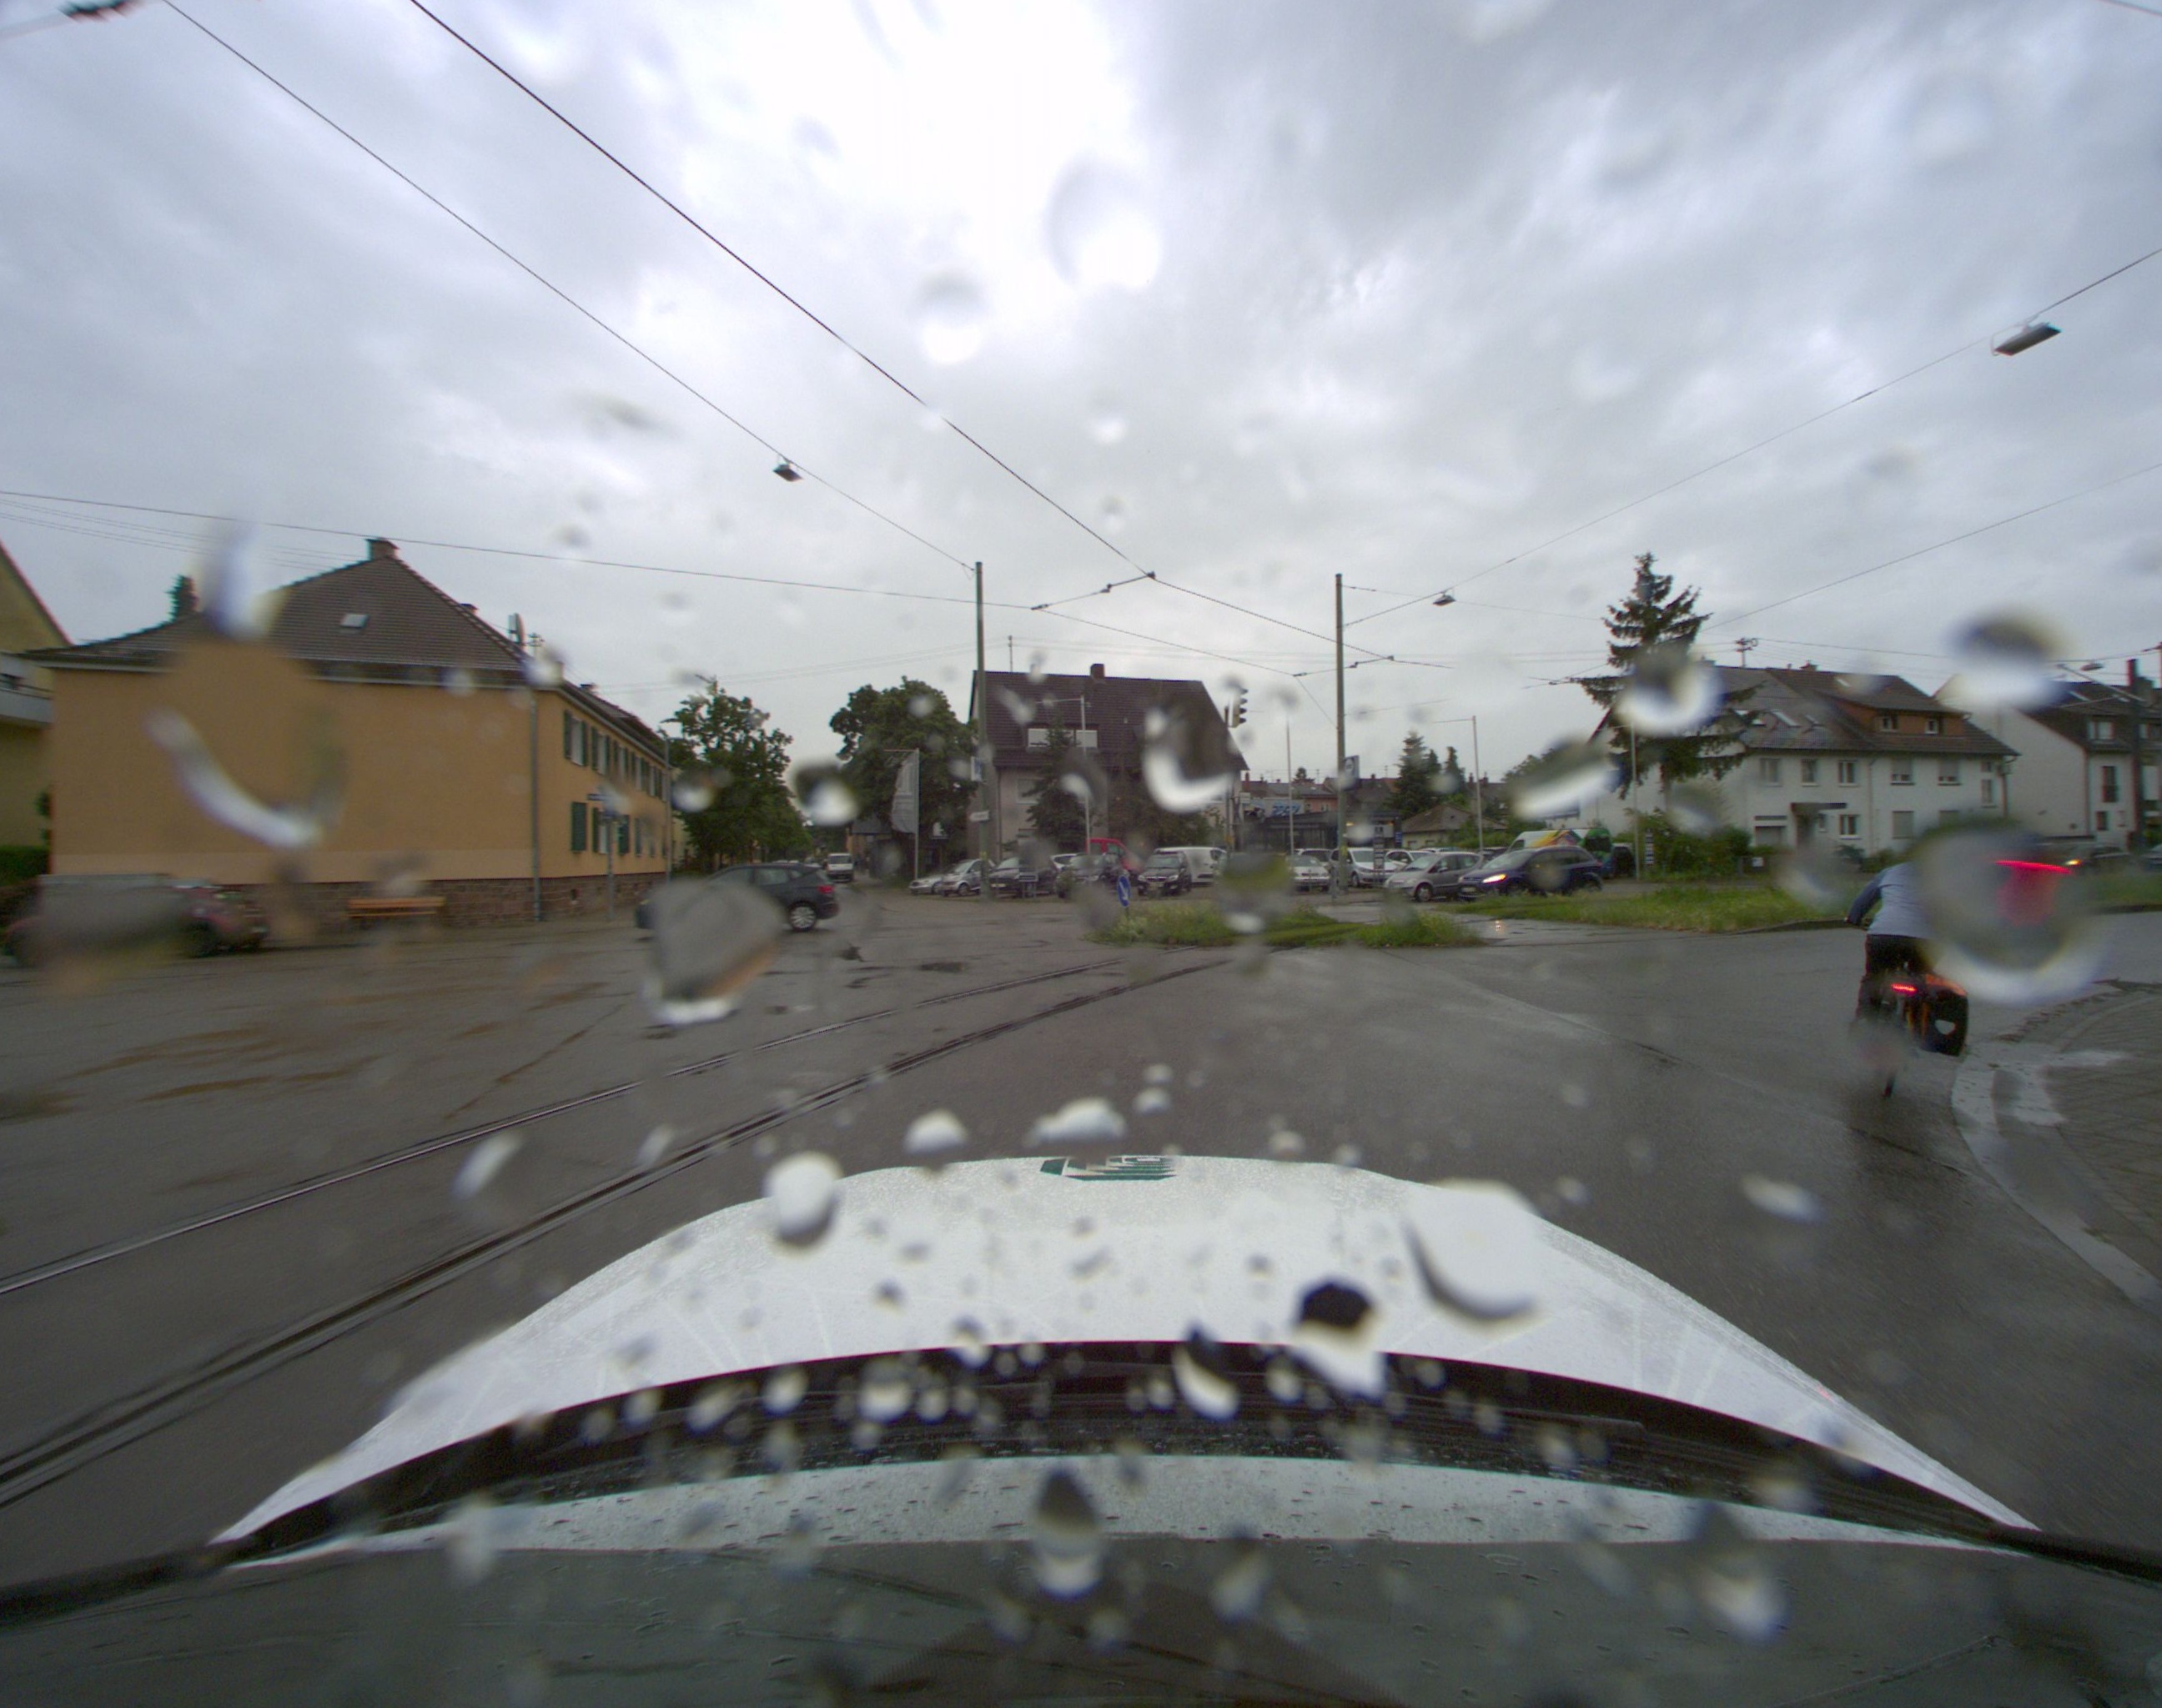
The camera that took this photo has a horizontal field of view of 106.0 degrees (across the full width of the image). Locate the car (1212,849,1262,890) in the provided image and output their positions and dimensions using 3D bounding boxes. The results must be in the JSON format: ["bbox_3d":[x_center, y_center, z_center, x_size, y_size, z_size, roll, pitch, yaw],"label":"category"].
[{"bbox_3d":[6.276,0.618,32.472,1.815,1.504,4.072,0,-1,12],"label":"car"}]

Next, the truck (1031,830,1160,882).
[{"bbox_3d":[0.747,0.134,39.526,6.057,2.272,2.002,-2,-1,3],"label":"truck"}]

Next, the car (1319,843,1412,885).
[{"bbox_3d":[11.787,0.412,34.000,1.805,1.578,3.852,-2,0,-14],"label":"car"}]

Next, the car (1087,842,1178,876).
[{"bbox_3d":[2.714,0.266,43.361,4.439,1.687,1.990,-1,-1,-14],"label":"car"}]

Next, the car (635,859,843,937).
[{"bbox_3d":[-7.369,0.906,17.979,3.998,1.476,1.988,-1,0,-18],"label":"car"}]

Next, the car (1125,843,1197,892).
[{"bbox_3d":[3.159,0.489,31.493,1.978,1.717,4.017,-2,-1,17],"label":"car"}]

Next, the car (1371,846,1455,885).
[{"bbox_3d":[14.481,0.508,35.718,1.719,1.573,3.601,1,-1,-12],"label":"car"}]

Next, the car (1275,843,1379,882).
[{"bbox_3d":[11.595,0.394,38.443,4.439,1.687,1.752,-1,-1,-14],"label":"car"}]

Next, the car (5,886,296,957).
[{"bbox_3d":[-19.427,1.369,17.228,3.616,1.339,1.712,1,-1,-19],"label":"car"}]

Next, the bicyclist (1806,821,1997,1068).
[{"bbox_3d":[5.512,0.546,5.475,0.850,1.485,0.745,-2,0,-36],"label":"bicyclist"}]

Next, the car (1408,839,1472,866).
[{"bbox_3d":[22.760,-0.090,51.583,4.468,1.580,1.773,-1,-2,-38],"label":"car"}]

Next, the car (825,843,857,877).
[{"bbox_3d":[-18.704,0.480,63.351,2.159,2.573,4.107,1,-1,-18],"label":"car"}]

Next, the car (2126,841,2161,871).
[{"bbox_3d":[52.828,0.119,39.140,4.661,1.424,1.597,1,-1,-16],"label":"car"}]

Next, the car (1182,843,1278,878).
[{"bbox_3d":[7.738,0.340,42.410,4.439,1.687,1.990,-1,-1,-14],"label":"car"}]

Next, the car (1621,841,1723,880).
[{"bbox_3d":[28.386,0.292,39.177,3.891,1.564,1.989,-4,1,-17],"label":"car"}]

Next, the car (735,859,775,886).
[{"bbox_3d":[-20.280,1.141,50.779,1.999,1.618,3.975,-1,-1,-18],"label":"car"}]

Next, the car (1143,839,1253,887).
[{"bbox_3d":[5.262,0.402,36.827,4.439,2.014,1.990,-1,-1,-14],"label":"car"}]

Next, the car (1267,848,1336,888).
[{"bbox_3d":[8.861,0.577,33.032,1.821,1.504,4.059,1,-1,1],"label":"car"}]

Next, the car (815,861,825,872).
[{"bbox_3d":[-51.502,2.418,160.531,1.833,2.014,3.975,1,-1,-18],"label":"car"}]

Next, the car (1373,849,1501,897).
[{"bbox_3d":[11.770,0.632,26.998,3.637,1.504,1.714,1,-1,-15],"label":"car"}]

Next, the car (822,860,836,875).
[{"bbox_3d":[-36.295,1.942,117.270,1.833,2.014,3.975,1,-1,-18],"label":"car"}]

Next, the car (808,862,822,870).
[{"bbox_3d":[-57.917,2.597,177.419,1.841,1.697,3.990,1,-1,-33],"label":"car"}]

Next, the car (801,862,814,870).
[{"bbox_3d":[-61.108,2.630,182.102,1.841,1.697,3.990,1,-1,-33],"label":"car"}]

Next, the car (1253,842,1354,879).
[{"bbox_3d":[11.121,0.337,40.775,4.439,1.687,1.990,-1,-1,-14],"label":"car"}]

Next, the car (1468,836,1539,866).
[{"bbox_3d":[24.063,-0.181,46.342,4.420,1.580,1.844,-1,-2,-38],"label":"car"}]

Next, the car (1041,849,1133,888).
[{"bbox_3d":[0.323,0.661,36.410,3.948,1.598,2.002,-2,-1,3],"label":"car"}]

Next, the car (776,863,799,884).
[{"bbox_3d":[-30.257,1.991,84.051,1.998,2.014,3.978,1,-1,-16],"label":"car"}]

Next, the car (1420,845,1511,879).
[{"bbox_3d":[17.003,0.363,36.205,1.719,1.396,3.825,1,-1,-13],"label":"car"}]

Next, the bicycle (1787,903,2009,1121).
[{"bbox_3d":[5.501,0.940,5.447,1.936,1.073,0.747,-2,0,-37],"label":"bicycle"}]

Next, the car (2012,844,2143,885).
[{"bbox_3d":[38.529,0.418,31.501,3.993,1.486,1.733,1,-1,-15],"label":"car"}]

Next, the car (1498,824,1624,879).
[{"bbox_3d":[22.691,-0.073,38.747,2.149,2.406,5.120,1,-1,-16],"label":"car"}]

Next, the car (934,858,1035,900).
[{"bbox_3d":[-4.106,1.039,34.969,3.889,1.578,1.788,-2,0,-36],"label":"car"}]

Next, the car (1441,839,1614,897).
[{"bbox_3d":[13.343,0.436,24.403,4.570,1.605,1.988,1,-1,-18],"label":"car"}]

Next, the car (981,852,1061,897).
[{"bbox_3d":[-2.272,0.757,31.758,1.788,1.578,3.889,-2,0,17],"label":"car"}]

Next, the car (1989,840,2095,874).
[{"bbox_3d":[42.656,0.135,36.155,3.939,1.424,1.597,1,-1,-16],"label":"car"}]

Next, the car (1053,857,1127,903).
[{"bbox_3d":[0.418,0.948,31.033,1.788,1.578,3.889,-2,0,17],"label":"car"}]

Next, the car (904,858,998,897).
[{"bbox_3d":[-6.000,1.057,37.680,3.889,1.578,1.788,-2,0,-36],"label":"car"}]
